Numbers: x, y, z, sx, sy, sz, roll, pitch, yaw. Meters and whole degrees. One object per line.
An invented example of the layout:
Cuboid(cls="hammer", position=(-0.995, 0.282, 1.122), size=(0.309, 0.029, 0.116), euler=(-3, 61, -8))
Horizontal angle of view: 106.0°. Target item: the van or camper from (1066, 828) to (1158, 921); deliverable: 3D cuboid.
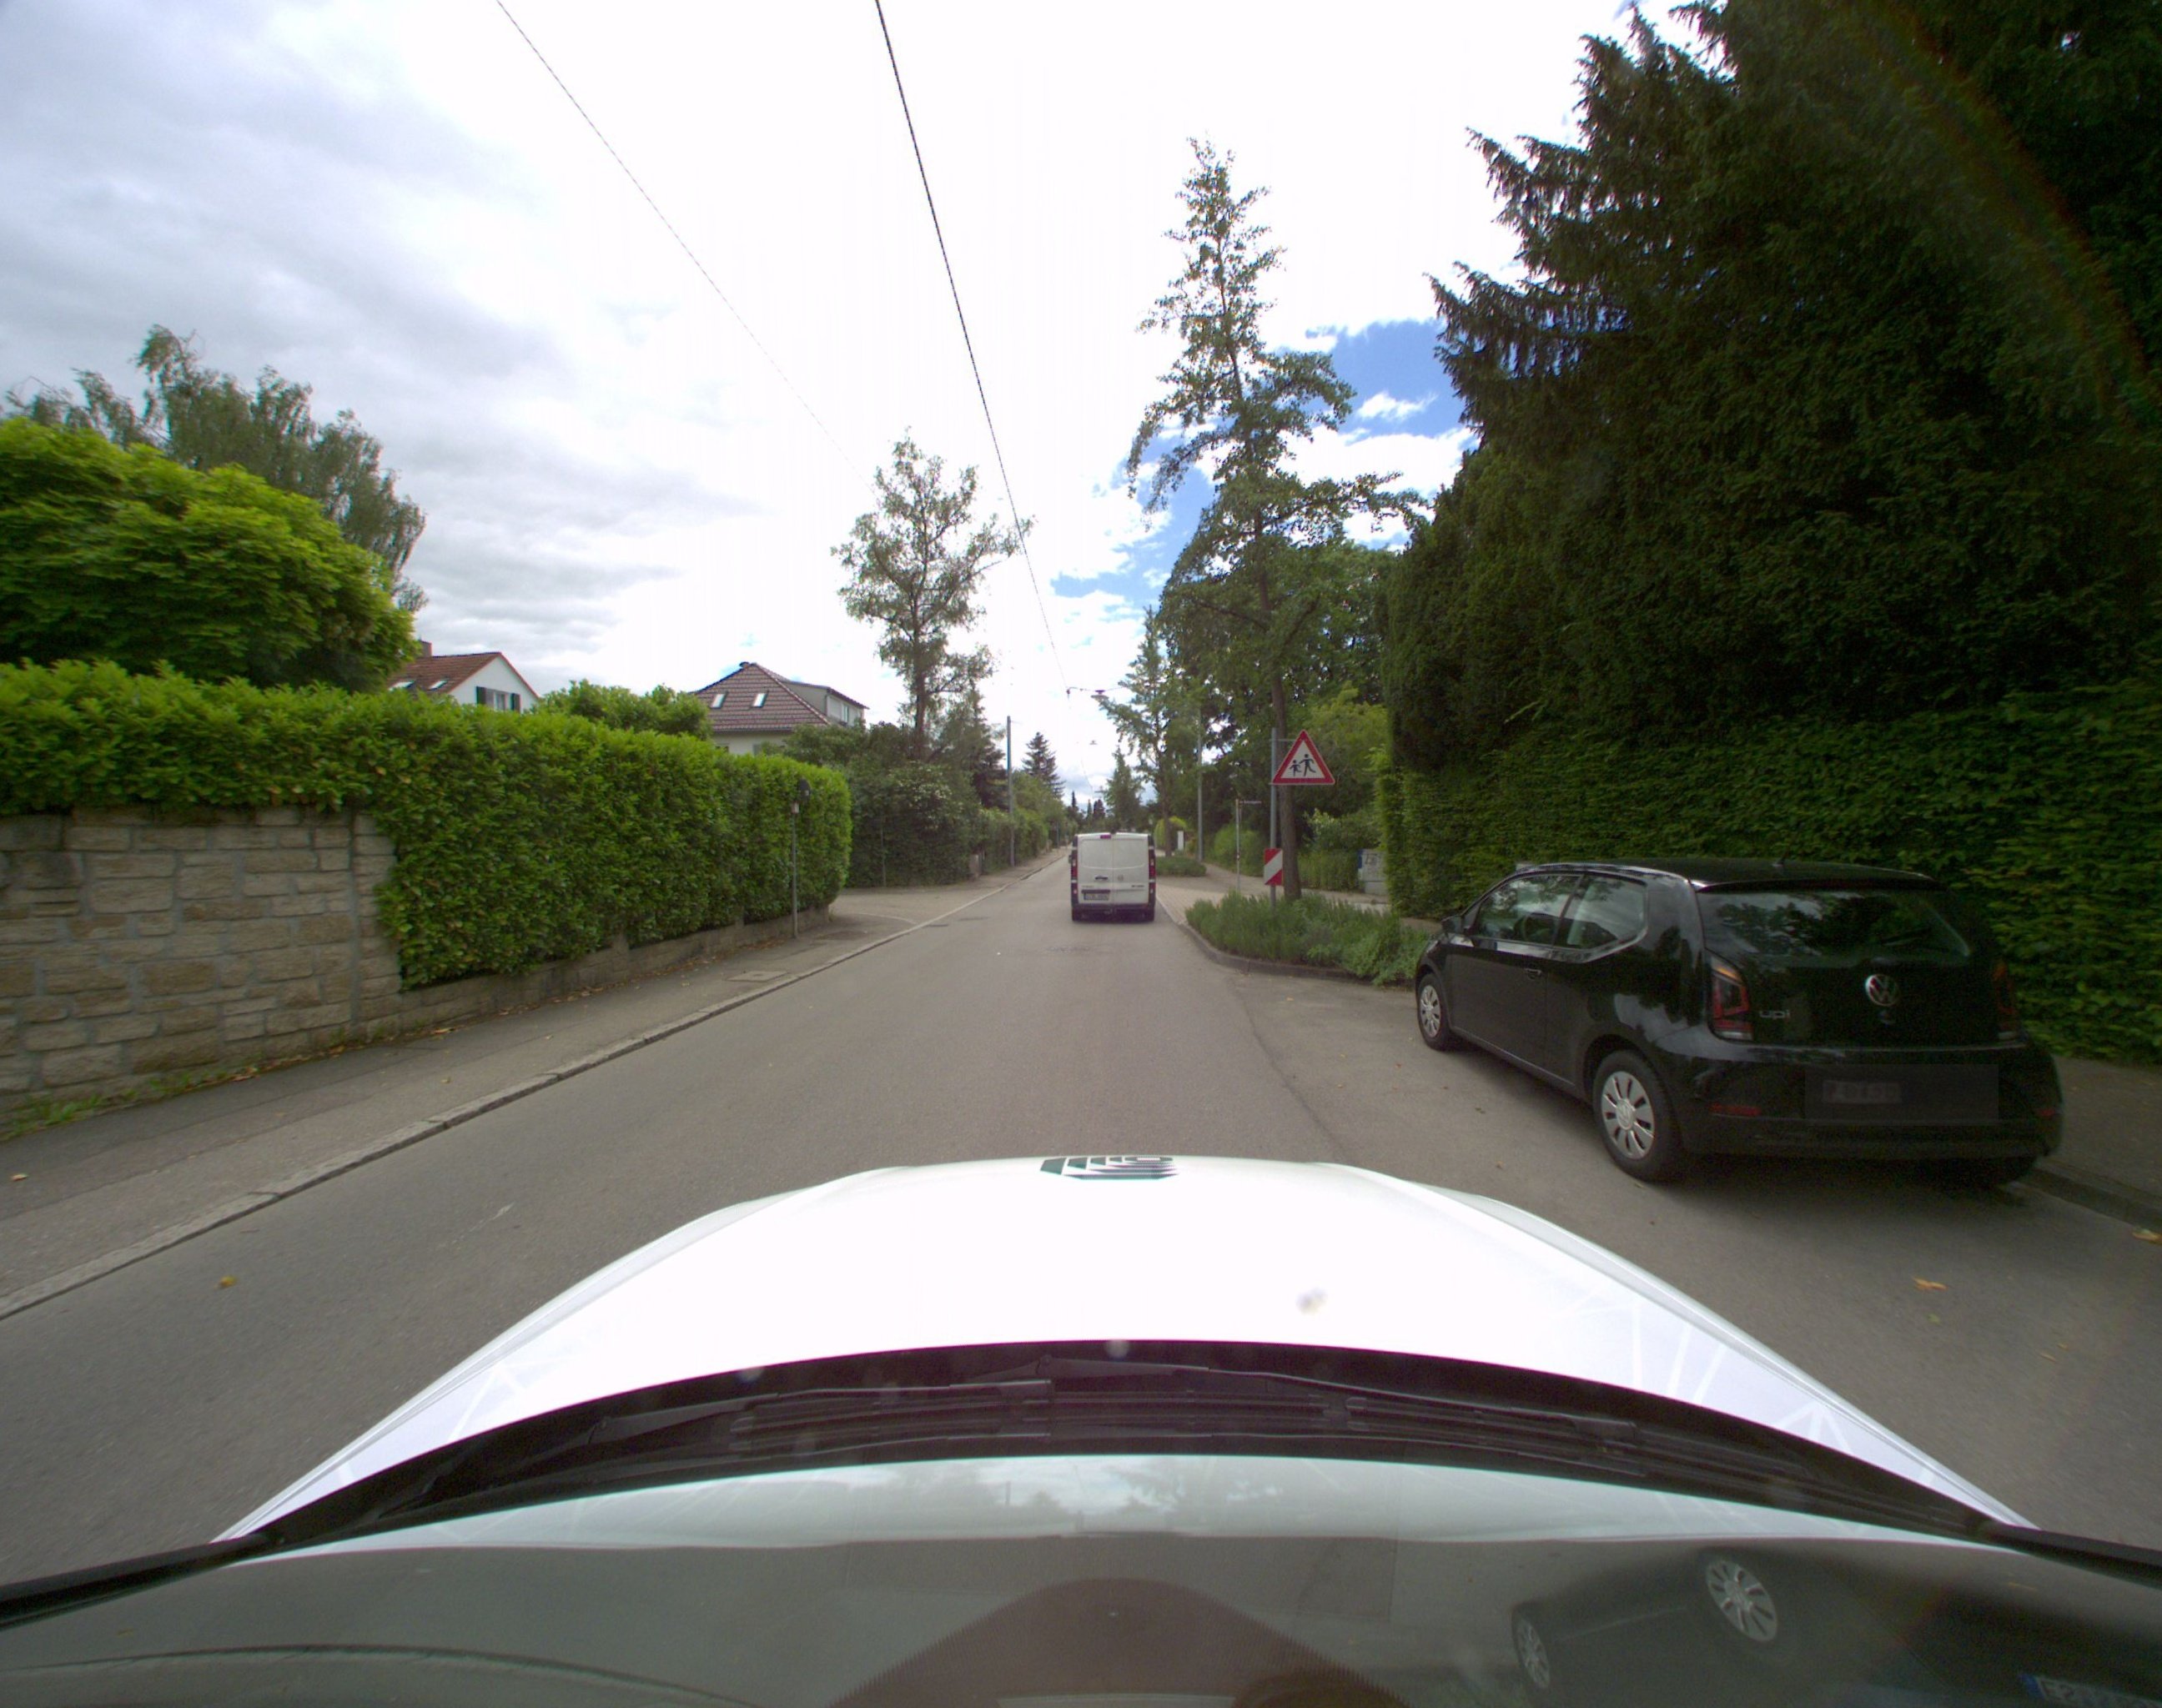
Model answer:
Cuboid(cls="van or camper", position=(0.700, 0.428, 19.538), size=(1.932, 1.954, 4.766), euler=(0, 0, 1))

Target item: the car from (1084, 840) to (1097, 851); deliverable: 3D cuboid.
Cuboid(cls="car", position=(1.392, -1.185, 116.698), size=(1.799, 1.431, 4.119), euler=(-4, 1, 0))

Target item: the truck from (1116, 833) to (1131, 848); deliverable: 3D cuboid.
Cuboid(cls="truck", position=(7.032, -2.215, 135.052), size=(2.179, 2.471, 7.434), euler=(0, 1, 2))

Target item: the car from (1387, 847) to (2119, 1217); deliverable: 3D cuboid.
Cuboid(cls="car", position=(3.384, 0.697, 5.127), size=(1.617, 1.473, 3.742), euler=(0, 1, 2))

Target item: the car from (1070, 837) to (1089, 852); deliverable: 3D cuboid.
Cuboid(cls="car", position=(-0.120, -0.997, 86.213), size=(1.798, 1.431, 4.304), euler=(-4, 1, 3))
